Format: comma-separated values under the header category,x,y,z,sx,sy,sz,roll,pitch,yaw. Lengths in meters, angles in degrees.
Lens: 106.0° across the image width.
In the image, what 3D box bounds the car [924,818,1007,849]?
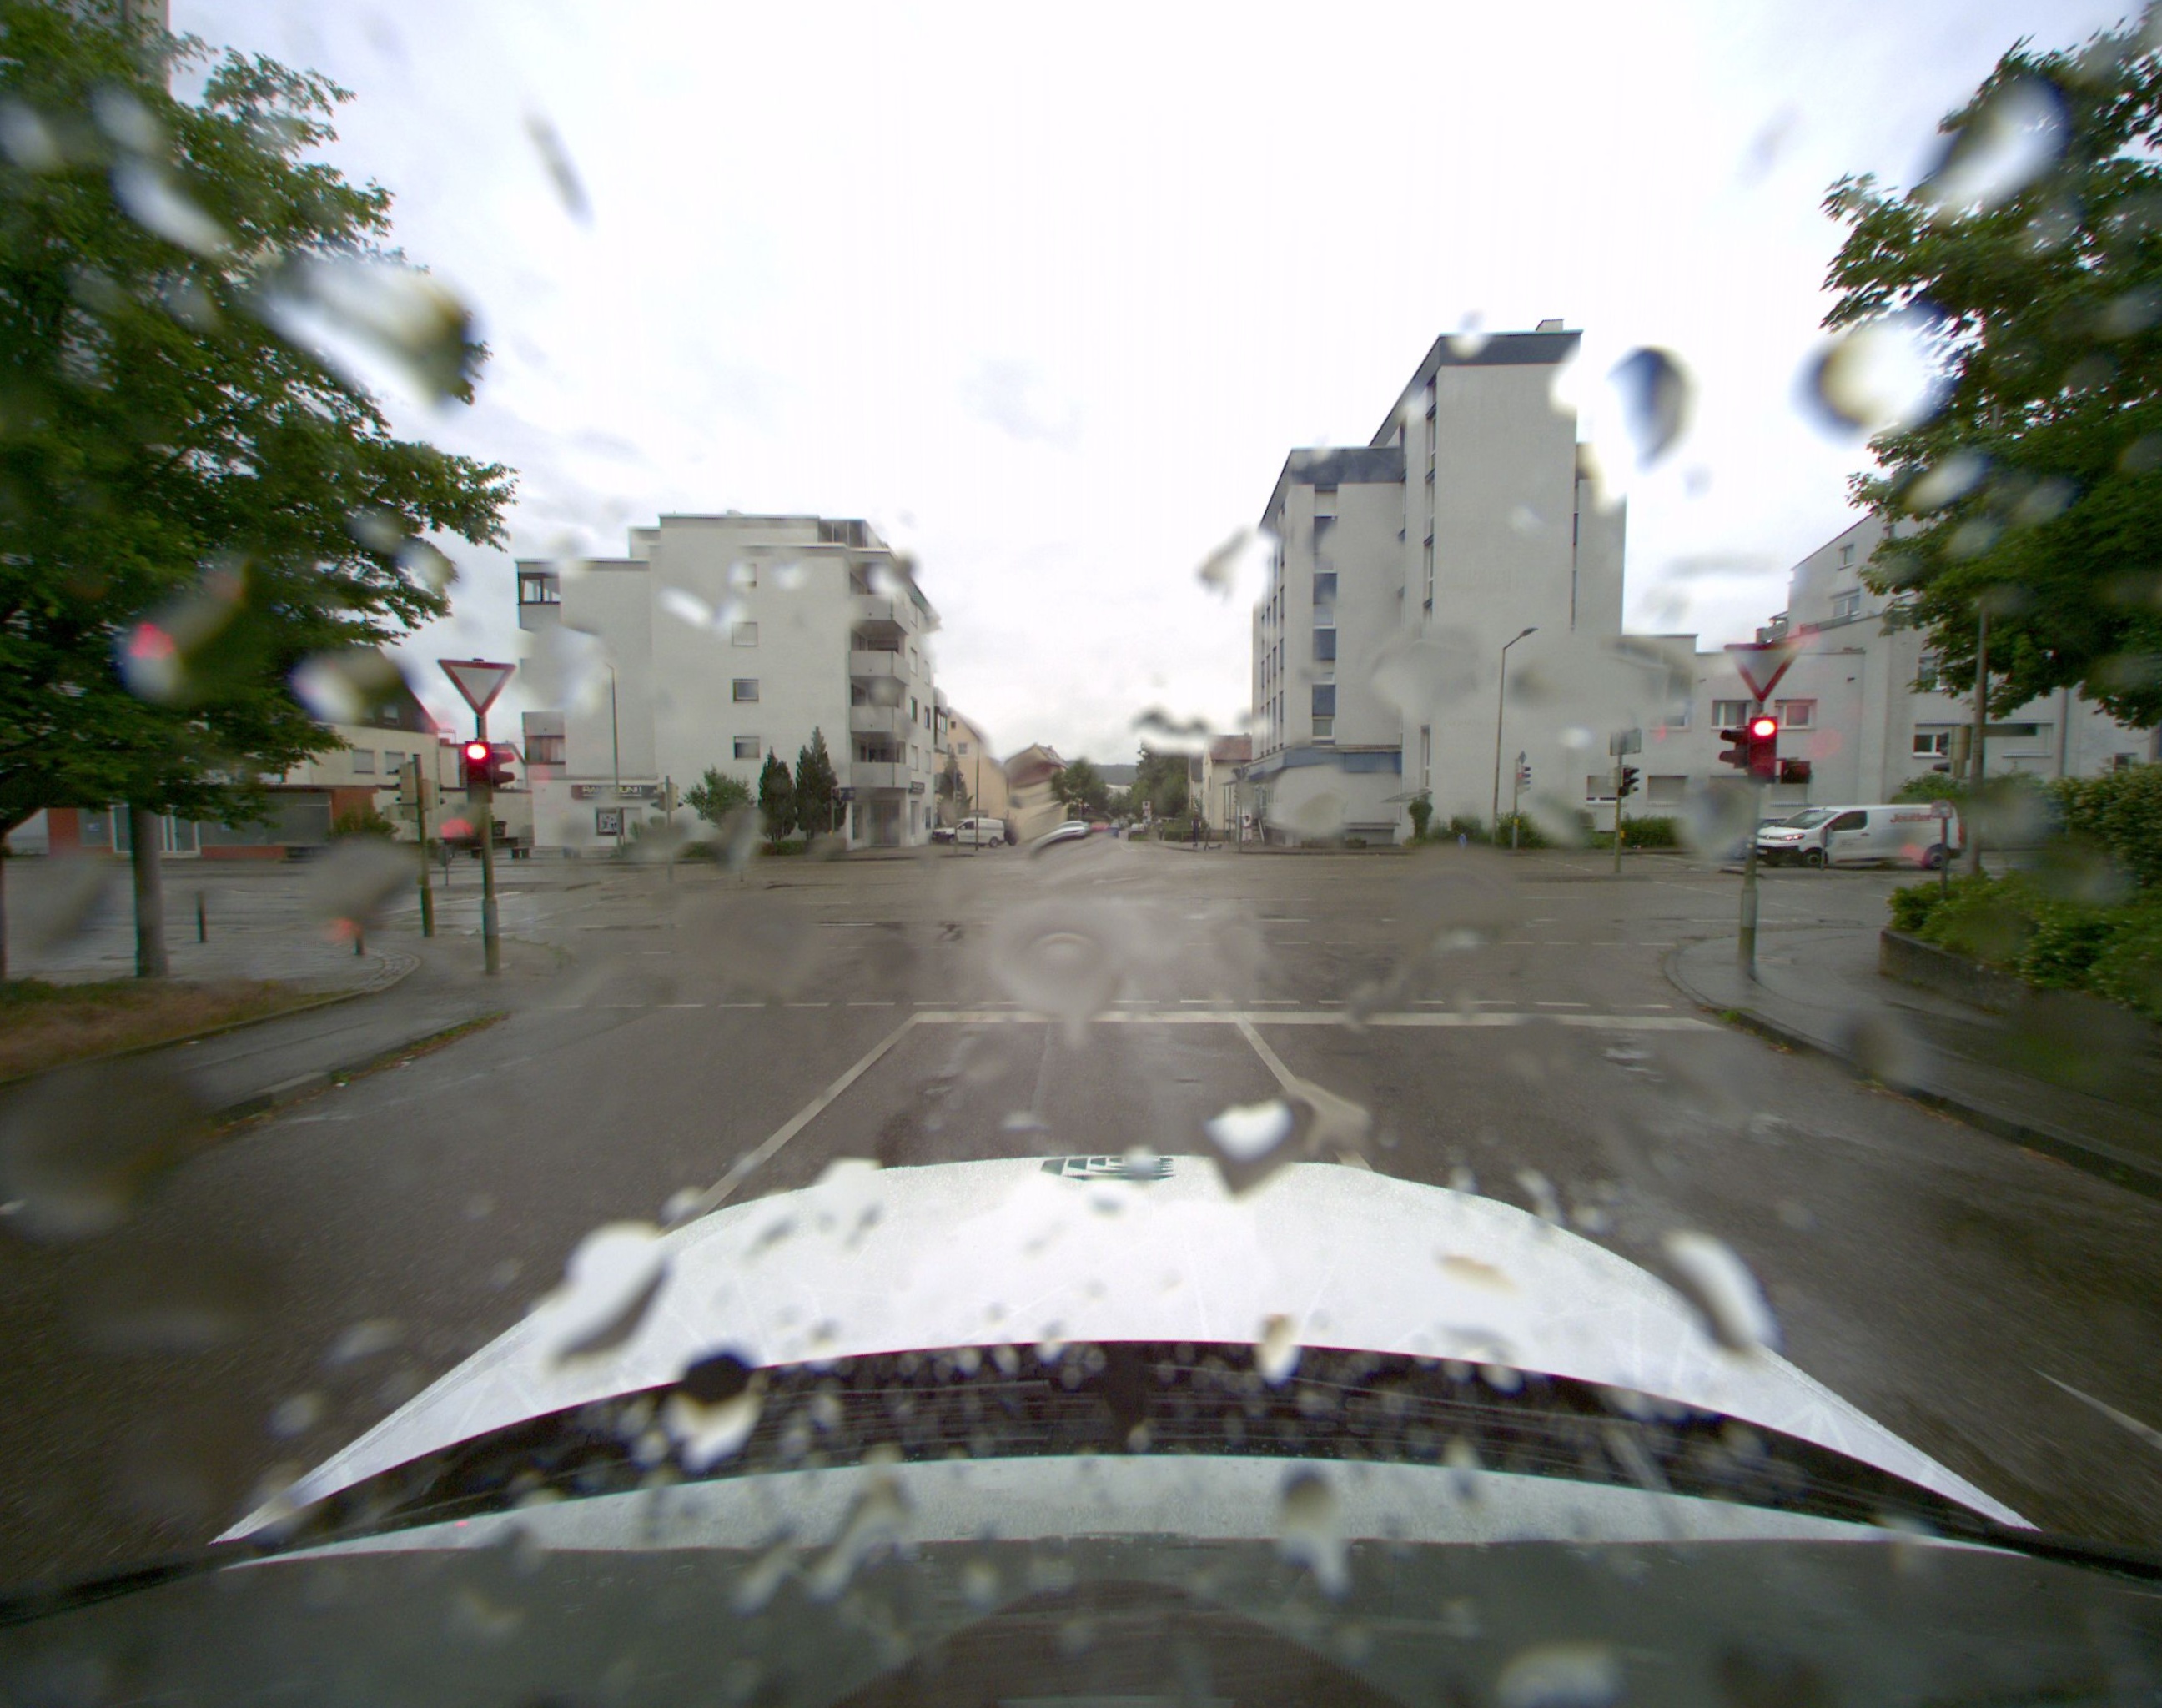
category,x,y,z,sx,sy,sz,roll,pitch,yaw
car,-7.307,-1.318,51.969,4.866,1.835,1.978,-2,2,-36

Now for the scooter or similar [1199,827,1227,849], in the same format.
category,x,y,z,sx,sy,sz,roll,pitch,yaw
scooter or similar,6.897,-0.846,42.638,1.265,1.081,0.876,-1,1,-2

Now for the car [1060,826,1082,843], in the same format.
category,x,y,z,sx,sy,sz,roll,pitch,yaw
car,-1.005,-2.009,83.631,1.985,1.625,4.195,-1,2,3

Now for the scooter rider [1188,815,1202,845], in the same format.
category,x,y,z,sx,sy,sz,roll,pitch,yaw
scooter rider,6.890,-1.440,49.073,0.749,1.795,0.673,-1,1,2

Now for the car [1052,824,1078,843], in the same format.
category,x,y,z,sx,sy,sz,roll,pitch,yaw
car,-1.393,-1.847,72.227,1.985,1.625,4.195,-1,2,3

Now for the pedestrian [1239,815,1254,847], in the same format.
category,x,y,z,sx,sy,sz,roll,pitch,yaw
pedestrian,8.877,-1.237,43.661,0.646,1.647,0.525,2,1,-4

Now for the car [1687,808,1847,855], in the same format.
category,x,y,z,sx,sy,sz,roll,pitch,yaw
car,23.955,-0.781,28.552,3.966,1.467,1.835,-1,1,6

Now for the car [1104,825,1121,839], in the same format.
category,x,y,z,sx,sy,sz,roll,pitch,yaw
car,4.009,-2.856,103.824,1.987,1.683,4.001,-1,2,0

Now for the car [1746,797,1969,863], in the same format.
category,x,y,z,sx,sy,sz,roll,pitch,yaw
car,23.674,-0.707,25.007,4.786,1.916,1.831,0,0,8

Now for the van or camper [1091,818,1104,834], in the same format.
category,x,y,z,sx,sy,sz,roll,pitch,yaw
van or camper,2.614,-4.453,130.417,1.893,2.513,4.243,-1,1,3

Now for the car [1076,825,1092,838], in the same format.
category,x,y,z,sx,sy,sz,roll,pitch,yaw
car,0.367,-2.989,108.666,1.893,1.558,4.195,-1,2,3

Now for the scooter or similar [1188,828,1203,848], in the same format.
category,x,y,z,sx,sy,sz,roll,pitch,yaw
scooter or similar,6.892,-0.962,49.082,0.753,1.171,1.316,-1,1,4

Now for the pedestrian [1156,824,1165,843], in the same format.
category,x,y,z,sx,sy,sz,roll,pitch,yaw
pedestrian,7.899,-2.047,80.539,0.743,1.848,0.526,2,1,-1

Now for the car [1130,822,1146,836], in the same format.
category,x,y,z,sx,sy,sz,roll,pitch,yaw
car,7.524,-3.288,107.632,1.893,1.745,4.195,-1,1,3

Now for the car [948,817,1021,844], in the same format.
category,x,y,z,sx,sy,sz,roll,pitch,yaw
car,-6.937,-1.680,58.984,4.866,1.835,1.978,-2,2,-36

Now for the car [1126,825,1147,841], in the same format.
category,x,y,z,sx,sy,sz,roll,pitch,yaw
car,5.803,-2.225,85.692,2.137,1.589,4.132,-1,2,3
